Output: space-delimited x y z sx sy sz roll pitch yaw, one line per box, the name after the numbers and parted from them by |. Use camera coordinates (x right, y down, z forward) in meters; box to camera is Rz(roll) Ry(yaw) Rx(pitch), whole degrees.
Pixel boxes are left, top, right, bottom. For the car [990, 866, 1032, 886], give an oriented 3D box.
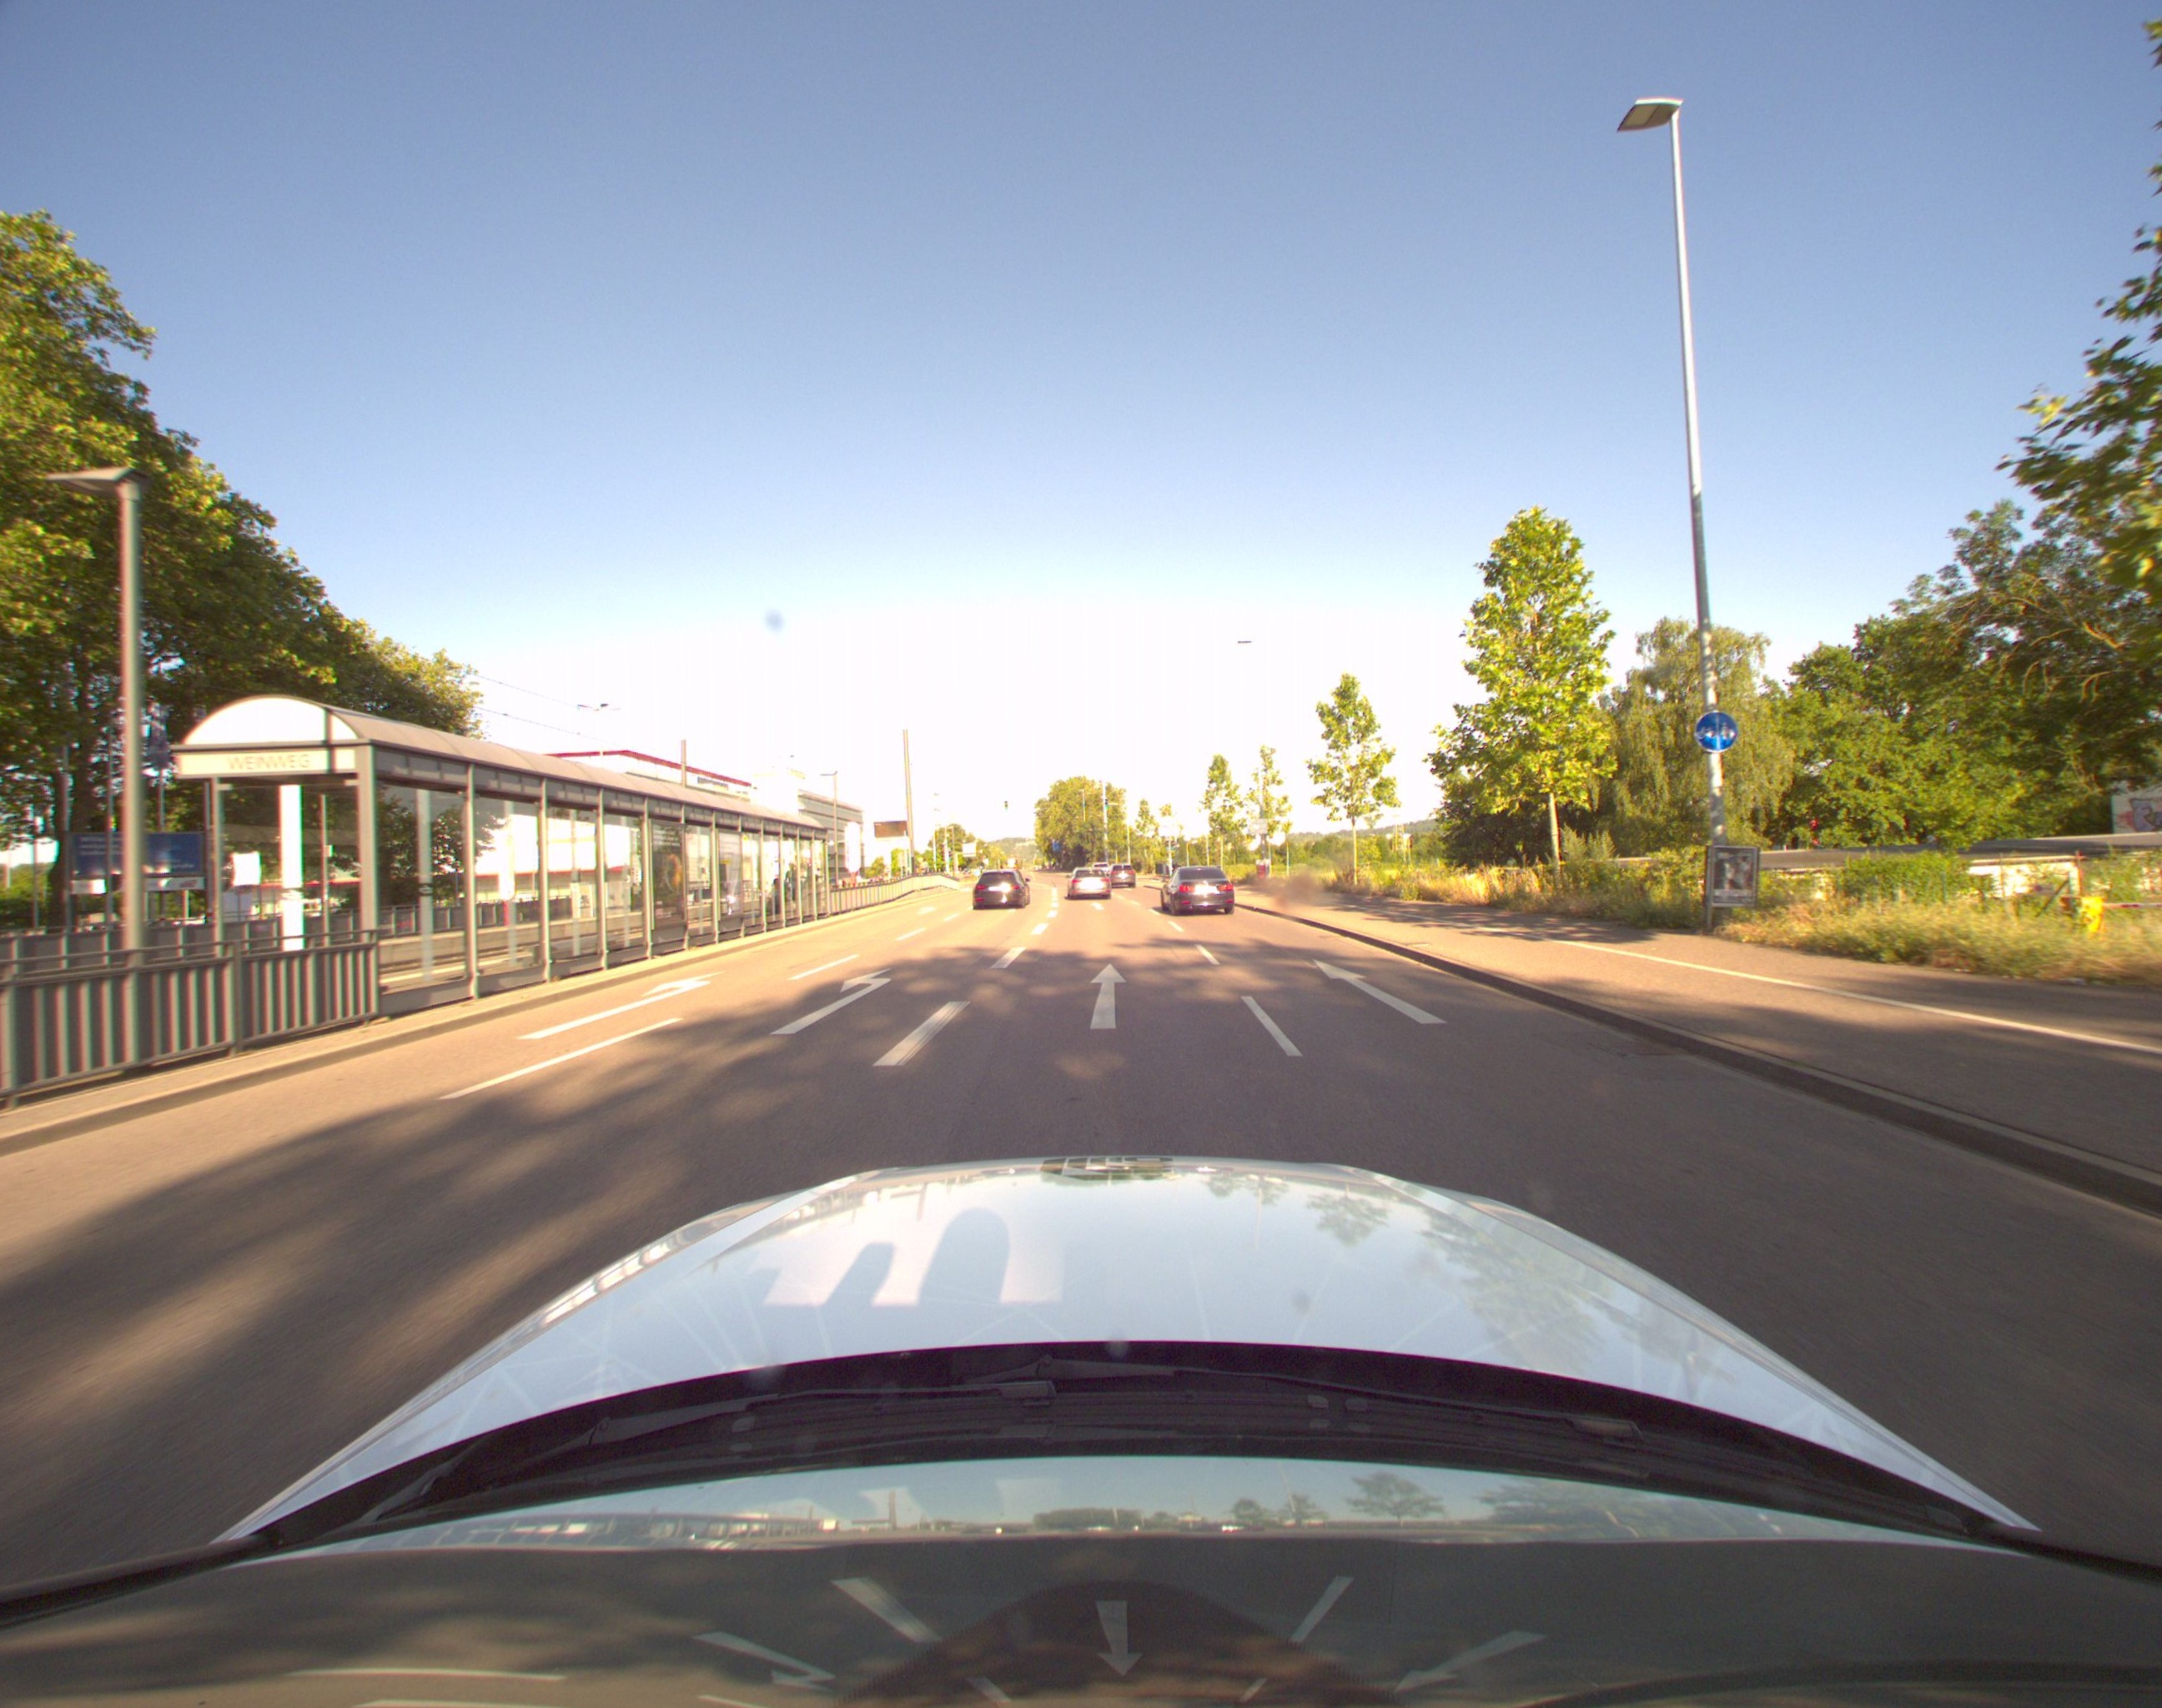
-6.218 1.982 72.024 1.781 1.460 3.542 -4 -2 -42 | car

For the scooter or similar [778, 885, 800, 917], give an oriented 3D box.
-9.497 1.528 26.512 0.570 0.987 0.812 -1 -1 -14 | scooter or similar

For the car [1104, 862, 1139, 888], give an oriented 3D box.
2.688 1.387 54.708 1.840 1.661 4.434 -1 0 -3 | car

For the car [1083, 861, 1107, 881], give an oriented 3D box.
1.252 1.549 75.119 1.879 1.796 3.995 0 -1 -3 | car

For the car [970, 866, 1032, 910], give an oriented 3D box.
-2.931 1.226 30.606 1.909 1.458 4.089 -2 -1 -1 | car

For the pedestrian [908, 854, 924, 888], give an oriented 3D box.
-8.706 0.918 43.088 0.704 1.775 0.535 0 -2 2 | pedestrian

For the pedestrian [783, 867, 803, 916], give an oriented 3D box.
-9.671 1.247 27.376 0.557 1.596 0.638 -1 -1 -14 | pedestrian

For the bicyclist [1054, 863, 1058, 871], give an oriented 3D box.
-5.025 2.618 162.747 0.684 1.509 0.889 -2 -1 -3 | bicyclist

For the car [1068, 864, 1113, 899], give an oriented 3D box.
0.373 1.195 36.943 1.861 1.467 4.663 -1 -1 -1 | car

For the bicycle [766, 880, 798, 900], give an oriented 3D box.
-20.427 2.455 55.655 0.706 1.218 2.289 -4 -2 17 | bicycle

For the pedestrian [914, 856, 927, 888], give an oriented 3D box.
-8.629 0.961 43.788 0.532 1.693 0.760 0 -2 0 | pedestrian

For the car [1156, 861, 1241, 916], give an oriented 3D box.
3.471 0.978 24.917 1.860 1.467 4.584 -2 -1 -1 | car

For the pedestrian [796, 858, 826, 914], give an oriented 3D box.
-8.417 0.992 25.421 0.692 1.716 0.820 -1 -1 -7 | pedestrian

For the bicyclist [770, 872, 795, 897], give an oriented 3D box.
-20.421 2.093 55.756 0.813 1.617 1.493 -4 -2 17 | bicyclist

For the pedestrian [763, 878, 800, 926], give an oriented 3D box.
-7.991 1.263 21.725 0.678 1.232 0.878 0 -1 -2 | pedestrian

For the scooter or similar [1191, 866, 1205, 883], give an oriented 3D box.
8.706 1.494 60.433 0.525 1.231 1.260 -3 -1 -15 | scooter or similar

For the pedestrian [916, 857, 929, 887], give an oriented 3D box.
-8.692 0.998 44.727 0.532 1.657 0.750 -1 -1 0 | pedestrian
